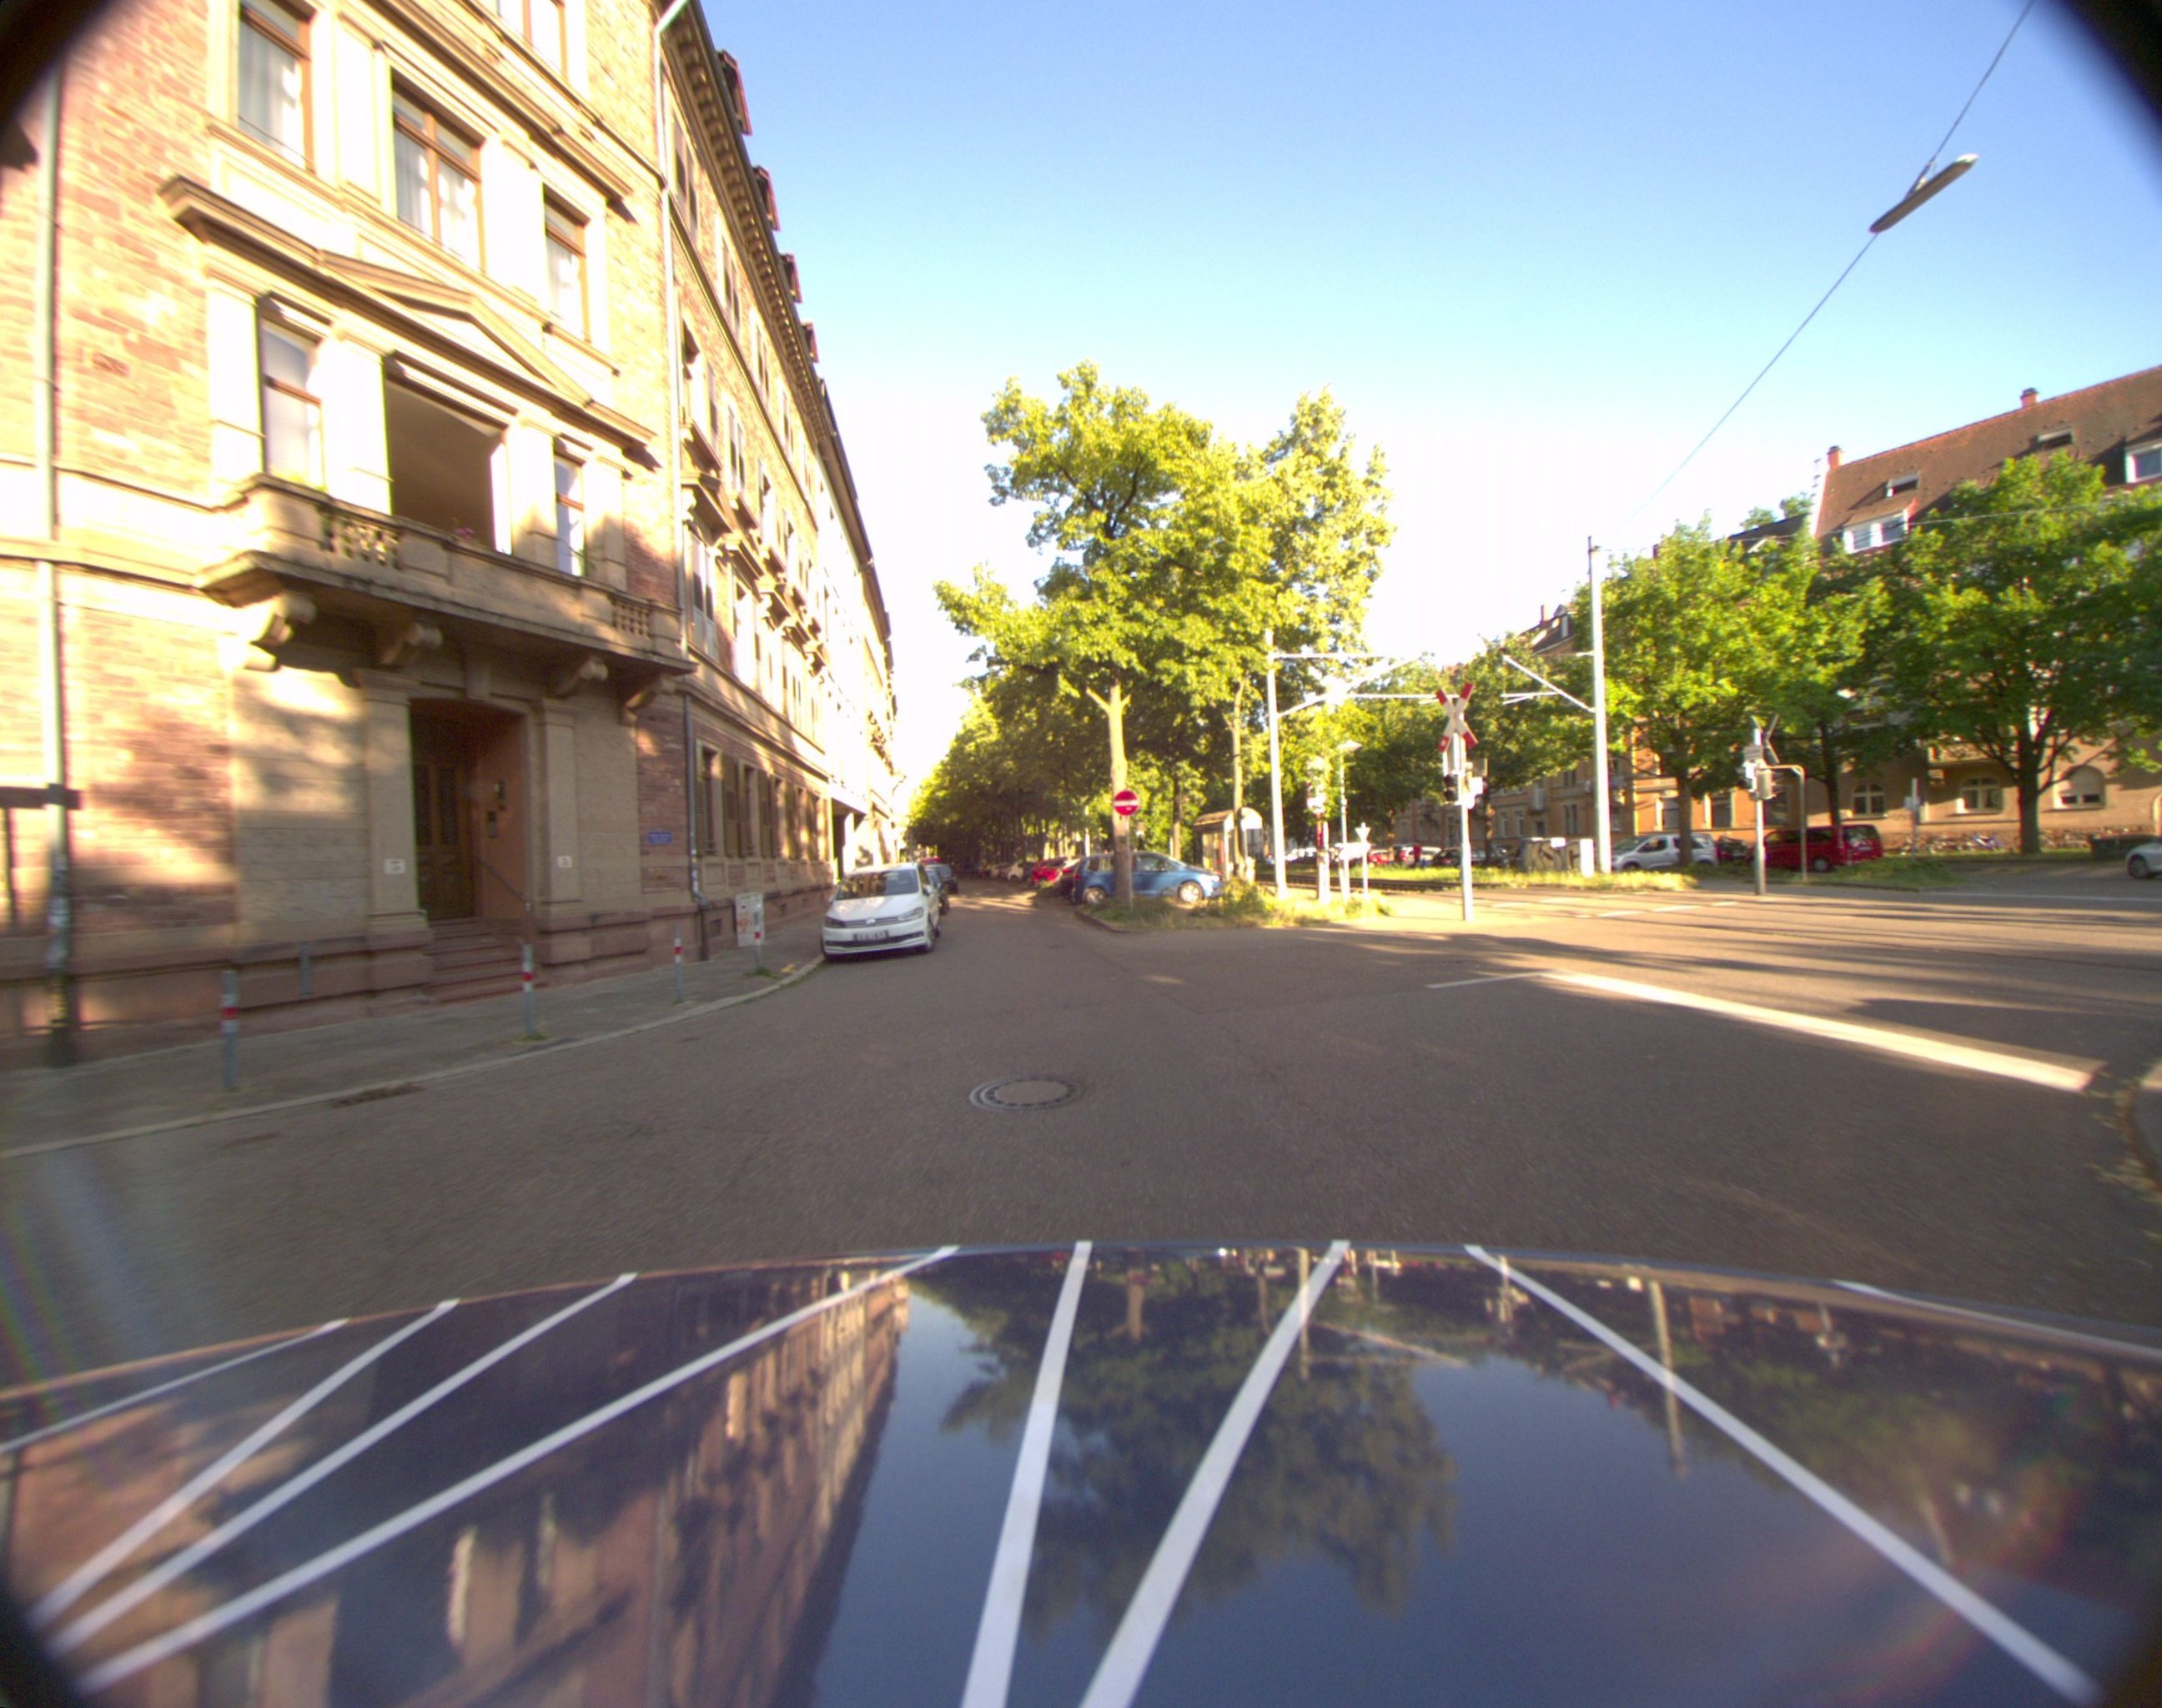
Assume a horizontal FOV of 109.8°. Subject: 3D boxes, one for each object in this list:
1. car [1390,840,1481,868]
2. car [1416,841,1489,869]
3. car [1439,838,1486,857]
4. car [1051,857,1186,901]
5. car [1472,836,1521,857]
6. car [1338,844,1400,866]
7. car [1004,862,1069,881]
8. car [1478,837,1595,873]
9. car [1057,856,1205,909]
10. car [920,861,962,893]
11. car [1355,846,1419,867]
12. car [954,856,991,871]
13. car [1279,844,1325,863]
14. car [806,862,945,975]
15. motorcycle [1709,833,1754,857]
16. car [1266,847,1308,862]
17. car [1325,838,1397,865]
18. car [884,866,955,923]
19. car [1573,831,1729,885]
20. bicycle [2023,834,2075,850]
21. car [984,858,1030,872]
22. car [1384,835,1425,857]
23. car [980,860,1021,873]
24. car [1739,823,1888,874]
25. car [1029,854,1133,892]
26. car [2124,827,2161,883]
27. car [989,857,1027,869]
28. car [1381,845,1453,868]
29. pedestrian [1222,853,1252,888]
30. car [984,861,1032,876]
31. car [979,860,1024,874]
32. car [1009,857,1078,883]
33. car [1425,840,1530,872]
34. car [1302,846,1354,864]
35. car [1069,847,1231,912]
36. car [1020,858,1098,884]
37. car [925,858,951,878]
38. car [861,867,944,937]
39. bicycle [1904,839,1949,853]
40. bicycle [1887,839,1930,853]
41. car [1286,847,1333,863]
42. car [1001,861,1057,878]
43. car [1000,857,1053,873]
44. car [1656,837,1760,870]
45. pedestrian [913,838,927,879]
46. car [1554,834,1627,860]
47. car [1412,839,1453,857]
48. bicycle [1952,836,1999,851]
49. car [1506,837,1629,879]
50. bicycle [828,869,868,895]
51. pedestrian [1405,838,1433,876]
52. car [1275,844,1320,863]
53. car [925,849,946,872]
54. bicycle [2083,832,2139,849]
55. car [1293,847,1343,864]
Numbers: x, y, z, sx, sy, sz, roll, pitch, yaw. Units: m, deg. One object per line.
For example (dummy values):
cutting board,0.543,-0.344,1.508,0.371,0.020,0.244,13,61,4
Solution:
car,21.987,-0.035,47.276,4.711,1.563,2.000,-2,1,2
car,21.779,0.068,44.583,3.406,1.505,1.719,-2,0,2
car,31.845,-0.536,63.538,1.767,1.375,4.290,-4,0,1
car,1.390,0.912,28.021,4.542,1.478,1.932,-1,0,21
car,31.789,-0.575,58.284,1.688,1.467,3.709,-4,0,1
car,21.650,0.049,57.255,3.998,1.571,1.765,-1,0,-2
car,-3.175,1.257,54.337,4.272,1.271,1.812,-1,0,22
car,22.267,0.015,37.300,4.549,1.563,1.950,-2,1,2
car,1.686,0.942,25.497,4.542,1.625,1.932,-1,0,21
car,-7.419,1.177,40.664,2.000,1.558,4.589,-1,0,-9
car,22.097,0.158,54.957,3.997,1.415,1.684,-1,0,0
car,-13.209,1.131,92.654,3.995,1.756,1.749,-1,0,7
car,21.571,-0.063,74.380,3.997,1.822,1.684,-1,0,0
car,-3.756,1.074,14.692,1.874,1.640,4.495,-5,1,-8
motorcycle,39.467,-0.546,46.134,0.811,1.345,1.894,-2,0,-35
car,22.280,0.033,82.258,3.997,1.480,1.684,-1,0,0
car,22.045,-0.195,59.893,4.856,2.026,2.155,-1,0,0
car,-5.073,1.214,24.309,1.742,1.481,4.162,-5,1,-7
car,22.121,0.130,29.618,4.549,1.904,1.950,-2,1,2
bicycle,46.463,-0.564,36.484,0.369,0.728,1.506,-3,1,-36
car,-7.024,1.039,72.379,3.991,1.271,1.751,-1,0,21
car,31.553,-0.756,74.226,1.912,1.872,4.725,-4,0,0
car,-8.570,1.322,80.745,3.991,1.271,1.751,-1,0,21
car,31.551,-0.235,32.985,1.780,1.922,4.772,-4,0,0
car,-0.007,0.886,35.938,4.540,1.712,1.933,-1,0,31
car,28.410,0.031,18.677,1.703,1.448,4.069,-1,0,29
car,-8.529,1.062,88.772,3.991,1.271,1.751,-1,0,21
car,22.017,0.164,49.905,3.997,1.452,1.684,-1,0,0
pedestrian,5.733,0.595,27.973,0.824,1.265,0.876,-2,1,-8
car,-6.700,1.283,69.416,3.991,1.271,1.751,-1,0,21
car,-7.803,1.251,74.876,3.991,1.271,1.751,-1,0,21
car,-2.562,1.069,51.565,4.271,1.685,1.812,-1,0,25
car,21.876,0.075,42.063,4.711,1.563,2.000,-2,1,2
car,21.694,0.103,66.787,3.997,1.480,1.684,-1,0,0
car,2.053,0.746,22.550,4.410,1.677,1.744,-3,0,19
car,-1.311,1.035,45.615,4.271,1.478,1.812,-1,0,25
car,-12.179,1.192,64.576,2.000,1.558,4.608,-1,0,-11
car,-4.581,1.176,19.972,1.742,1.481,3.721,-5,1,-9
bicycle,43.728,-0.409,39.312,0.369,0.728,1.506,-3,1,-36
bicycle,43.652,-0.410,40.089,0.369,0.728,1.506,-3,1,-36
car,21.678,0.099,72.186,3.997,1.480,1.684,-1,0,0
car,-4.124,1.246,60.253,3.991,1.271,1.751,-1,0,21
car,-4.517,0.926,63.107,3.991,1.271,1.751,-1,0,21
car,31.687,-0.029,38.558,1.780,1.425,4.271,-4,0,2
pedestrian,-11.821,0.342,55.693,0.921,2.930,0.699,-2,1,-12
car,31.803,-0.438,47.597,1.780,1.467,4.271,-4,0,2
car,31.672,-0.559,68.596,1.768,1.430,3.888,-4,0,0
bicycle,44.973,-0.522,38.215,0.369,0.728,1.506,-3,1,-36
car,22.135,0.154,34.643,4.449,1.681,1.949,-2,1,-6
bicycle,-11.078,1.311,36.195,0.681,1.110,2.099,-2,1,19
pedestrian,17.788,0.157,40.020,0.904,1.907,1.150,-2,1,1
car,21.789,-0.090,76.621,3.997,1.822,1.684,-1,0,0
car,-14.403,0.623,75.189,2.000,2.160,4.608,-1,0,-11
bicycle,47.385,-0.613,34.977,0.369,0.728,1.507,-3,-1,-36
car,21.625,0.109,69.409,3.997,1.480,1.684,-1,0,0
